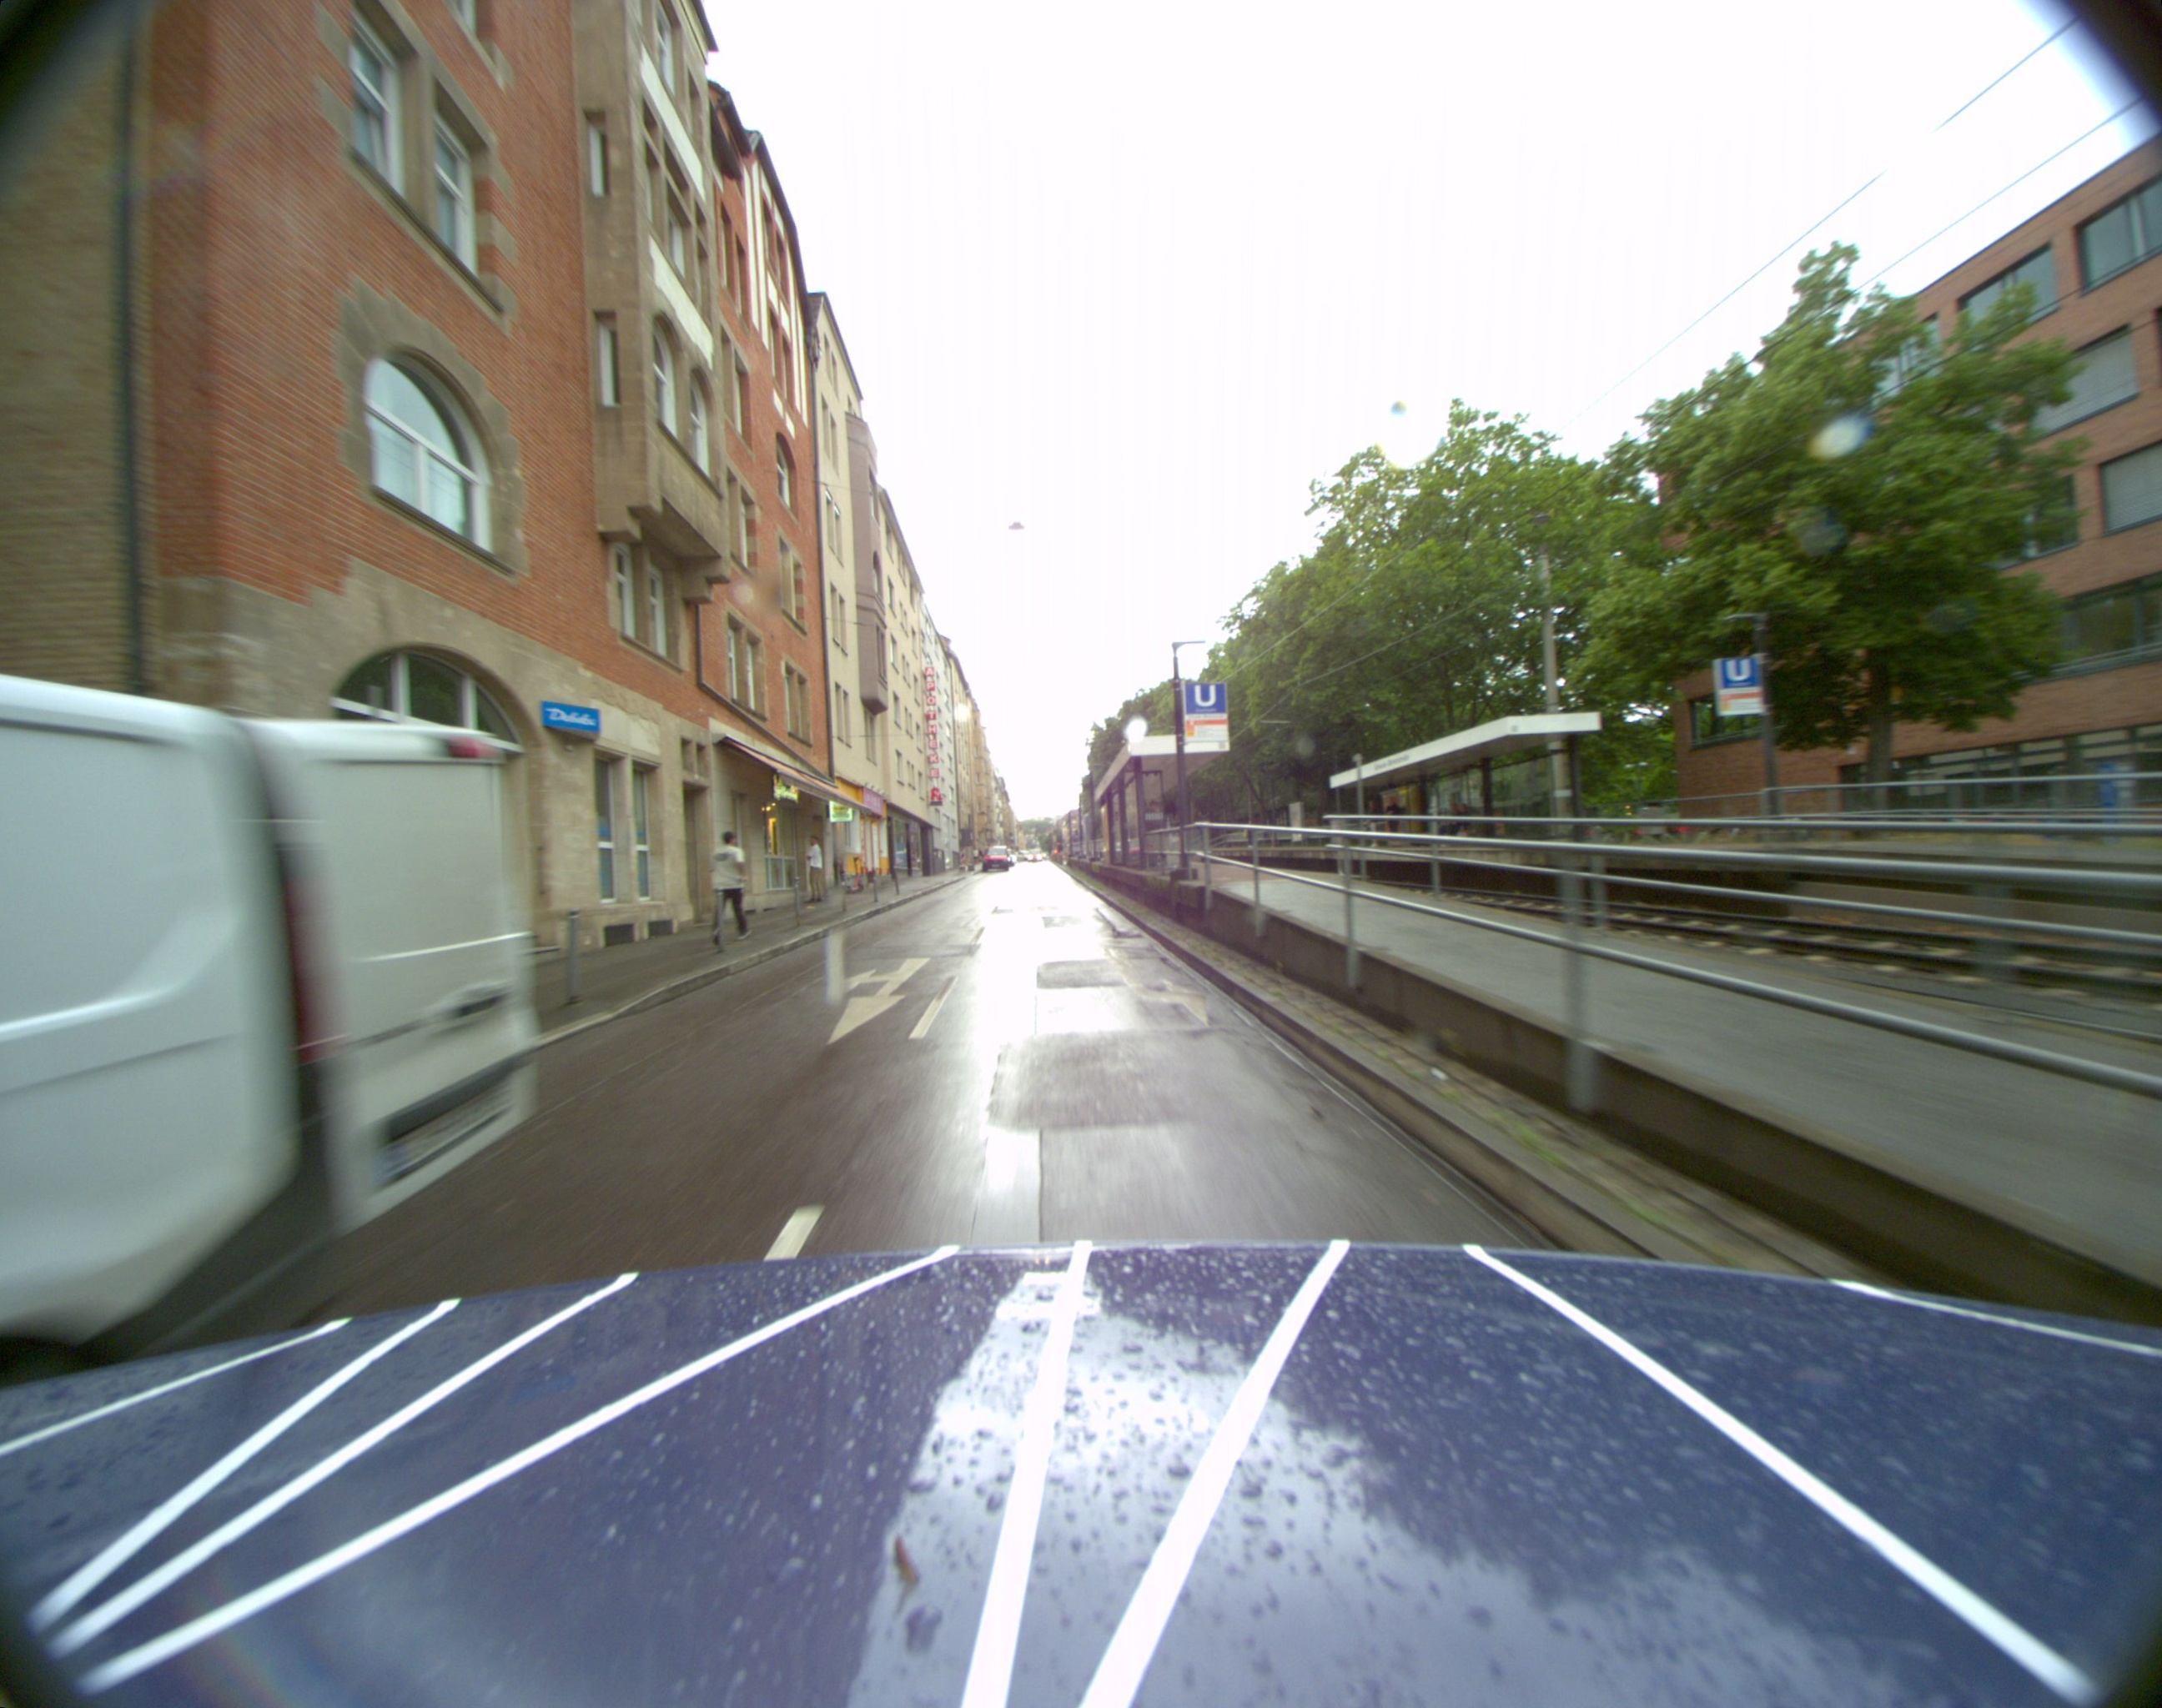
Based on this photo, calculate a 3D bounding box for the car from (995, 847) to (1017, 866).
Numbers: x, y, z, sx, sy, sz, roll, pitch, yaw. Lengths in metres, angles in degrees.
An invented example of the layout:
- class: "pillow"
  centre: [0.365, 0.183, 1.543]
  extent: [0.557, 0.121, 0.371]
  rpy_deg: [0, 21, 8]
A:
- class: "car"
  centre: [-7.209, 0.237, 72.949]
  extent: [1.770, 1.698, 4.498]
  rpy_deg: [-3, 0, -2]

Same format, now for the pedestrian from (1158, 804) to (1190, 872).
- class: "pedestrian"
  centre: [2.213, -0.372, 18.068]
  extent: [0.615, 1.572, 0.507]
  rpy_deg: [-3, 1, 0]

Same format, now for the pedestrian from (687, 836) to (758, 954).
- class: "pedestrian"
  centre: [-5.541, 0.605, 11.791]
  extent: [0.687, 1.744, 0.835]
  rpy_deg: [-2, 1, -7]

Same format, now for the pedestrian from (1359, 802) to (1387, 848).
- class: "pedestrian"
  centre: [10.561, -1.044, 27.507]
  extent: [0.688, 1.632, 0.564]
  rpy_deg: [-4, 1, -5]

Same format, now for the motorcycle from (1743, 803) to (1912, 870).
- class: "motorcycle"
  centre: [20.598, -0.482, 21.000]
  extent: [3.875, 1.596, 1.005]
  rpy_deg: [-3, 1, -5]

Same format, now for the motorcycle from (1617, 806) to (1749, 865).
- class: "motorcycle"
  centre: [20.674, -0.629, 26.142]
  extent: [3.875, 1.764, 1.005]
  rpy_deg: [-3, 1, -5]

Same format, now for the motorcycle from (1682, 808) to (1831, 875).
- class: "motorcycle"
  centre: [20.805, -0.393, 23.446]
  extent: [3.875, 1.805, 1.005]
  rpy_deg: [-3, 1, -5]

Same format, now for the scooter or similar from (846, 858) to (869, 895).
- class: "scooter or similar"
  centre: [-7.630, 0.755, 26.002]
  extent: [0.258, 1.214, 1.195]
  rpy_deg: [-3, 0, 6]

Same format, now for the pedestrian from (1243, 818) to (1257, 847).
- class: "pedestrian"
  centre: [9.838, -1.265, 44.256]
  extent: [0.563, 1.632, 0.688]
  rpy_deg: [-4, 1, 3]

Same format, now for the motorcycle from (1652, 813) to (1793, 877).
- class: "motorcycle"
  centre: [20.742, -0.290, 24.594]
  extent: [3.875, 1.805, 1.005]
  rpy_deg: [-3, 1, -5]

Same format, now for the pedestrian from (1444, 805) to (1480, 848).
- class: "pedestrian"
  centre: [11.280, -0.809, 22.483]
  extent: [0.705, 1.233, 0.564]
  rpy_deg: [-4, 1, -5]

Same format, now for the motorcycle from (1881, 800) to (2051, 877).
- class: "motorcycle"
  centre: [21.048, -0.361, 18.098]
  extent: [3.067, 1.618, 1.005]
  rpy_deg: [-3, 1, -5]

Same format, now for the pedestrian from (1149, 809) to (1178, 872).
- class: "pedestrian"
  centre: [2.112, -0.353, 19.561]
  extent: [0.615, 1.572, 0.507]
  rpy_deg: [-3, 1, 0]

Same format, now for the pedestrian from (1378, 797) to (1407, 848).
- class: "pedestrian"
  centre: [10.709, -1.080, 26.113]
  extent: [0.564, 1.705, 0.705]
  rpy_deg: [-4, 1, -5]

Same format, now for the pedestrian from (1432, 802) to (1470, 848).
- class: "pedestrian"
  centre: [11.272, -0.876, 23.148]
  extent: [0.779, 1.355, 0.564]
  rpy_deg: [-4, 1, -5]

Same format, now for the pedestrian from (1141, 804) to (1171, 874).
- class: "pedestrian"
  centre: [1.853, -0.380, 18.827]
  extent: [0.615, 1.678, 0.587]
  rpy_deg: [-3, 1, 0]

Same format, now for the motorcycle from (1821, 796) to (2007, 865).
- class: "motorcycle"
  centre: [21.100, -0.597, 19.290]
  extent: [3.875, 1.479, 1.005]
  rpy_deg: [-3, 1, -5]

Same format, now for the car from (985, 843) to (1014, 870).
- class: "car"
  centre: [-6.068, 0.154, 57.043]
  extent: [1.981, 1.827, 5.242]
  rpy_deg: [-3, 1, -5]

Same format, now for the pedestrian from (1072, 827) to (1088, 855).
- class: "pedestrian"
  centre: [-0.059, -0.824, 49.917]
  extent: [0.861, 1.789, 0.787]
  rpy_deg: [-3, 1, -4]

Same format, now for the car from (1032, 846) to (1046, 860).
- class: "car"
  centre: [-5.059, -0.119, 91.028]
  extent: [1.621, 1.592, 4.066]
  rpy_deg: [-2, -1, -3]

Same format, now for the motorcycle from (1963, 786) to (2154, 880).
- class: "motorcycle"
  centre: [20.941, -0.451, 16.307]
  extent: [3.045, 1.805, 0.993]
  rpy_deg: [-3, 1, -5]

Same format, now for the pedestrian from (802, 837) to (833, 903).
- class: "pedestrian"
  centre: [-7.315, 0.433, 21.114]
  extent: [0.562, 1.820, 0.580]
  rpy_deg: [2, 2, 28]
